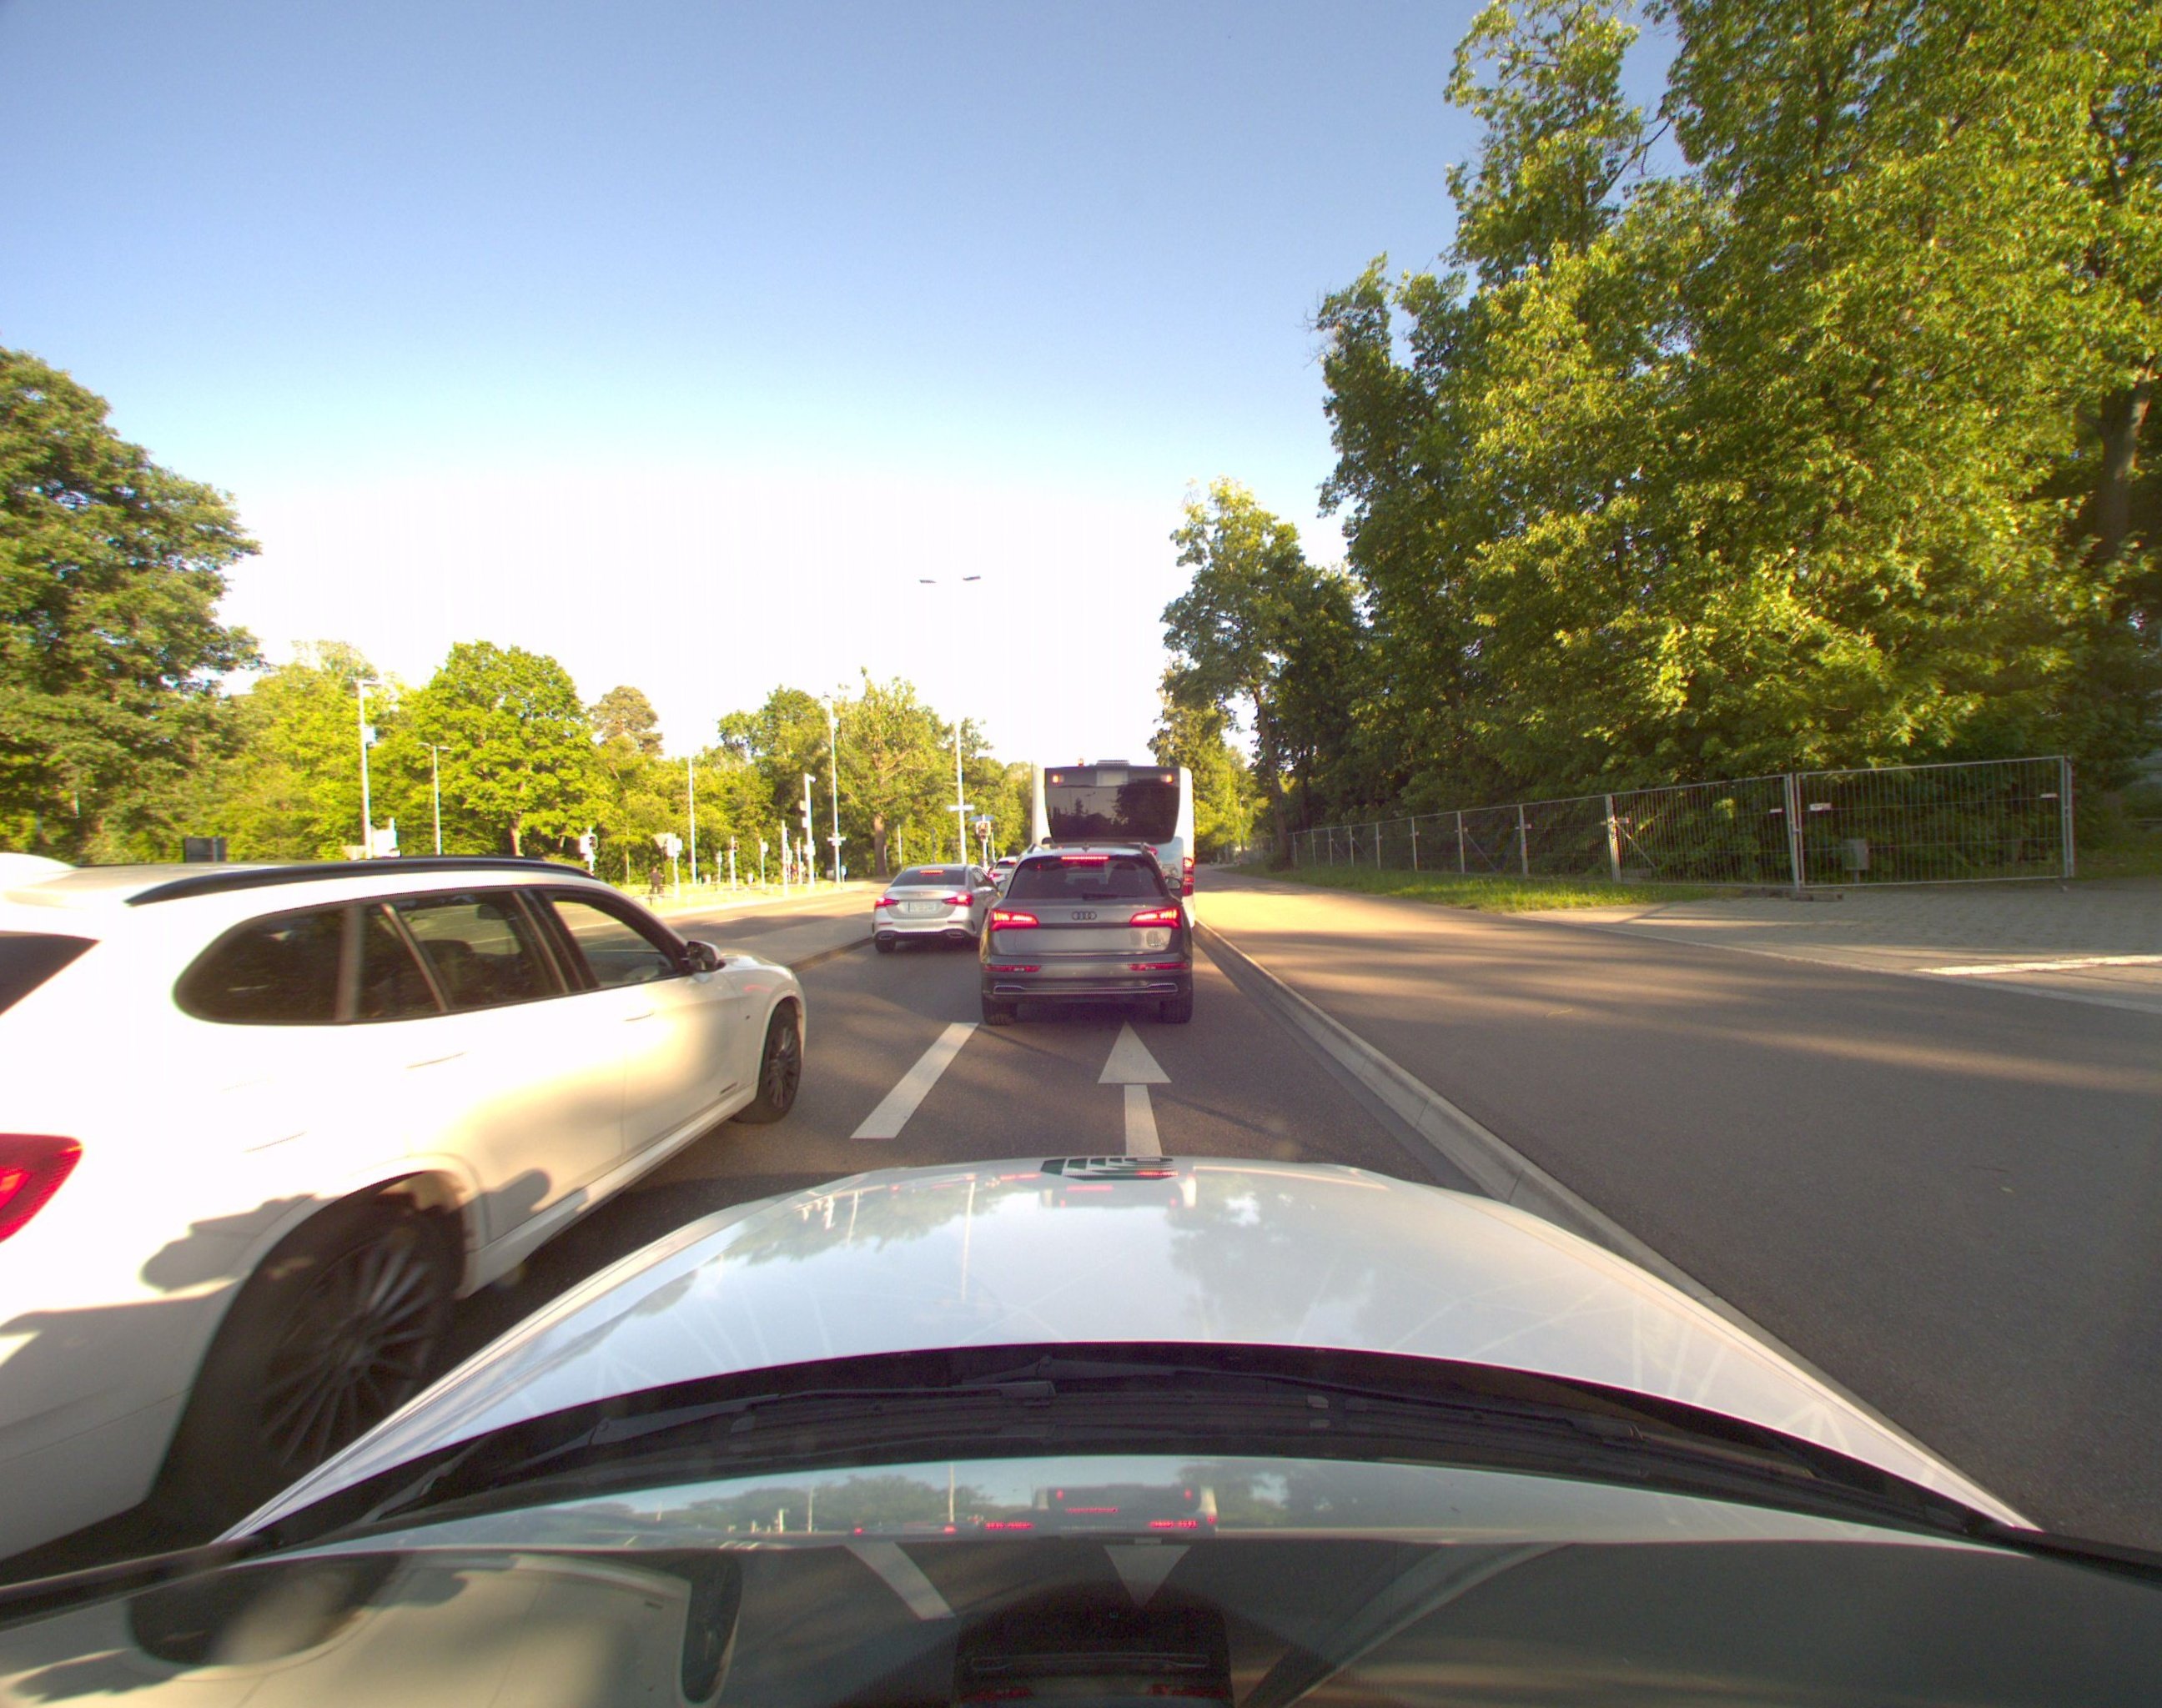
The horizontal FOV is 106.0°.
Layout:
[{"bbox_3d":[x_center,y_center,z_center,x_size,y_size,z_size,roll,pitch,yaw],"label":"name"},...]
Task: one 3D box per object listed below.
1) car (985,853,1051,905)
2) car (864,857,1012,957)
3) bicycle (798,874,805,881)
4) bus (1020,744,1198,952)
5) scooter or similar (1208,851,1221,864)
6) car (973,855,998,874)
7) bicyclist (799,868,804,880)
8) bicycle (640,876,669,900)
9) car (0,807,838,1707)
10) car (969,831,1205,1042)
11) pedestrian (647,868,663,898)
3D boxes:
[{"bbox_3d":[-2.063,0.782,27.634,1.801,1.572,4.002,0,1,2],"label":"car"},{"bbox_3d":[-2.345,0.806,14.476,1.779,1.444,4.279,0,1,1],"label":"car"},{"bbox_3d":[-22.265,1.853,64.887,0.266,0.581,0.838,0,-1,-4],"label":"bicycle"},{"bbox_3d":[0.579,-0.116,15.292,2.667,3.142,5.887,0,0,3],"label":"bus"},{"bbox_3d":[12.759,0.324,77.830,1.175,1.174,0.661,0,0,13],"label":"scooter or similar"},{"bbox_3d":[-8.771,0.947,75.404,1.990,1.662,3.995,-3,0,-4],"label":"car"},{"bbox_3d":[-22.265,1.578,64.862,0.273,0.963,0.240,0,-1,-5],"label":"bicyclist"},{"bbox_3d":[-22.694,1.802,43.377,0.466,1.178,2.005,0,-1,2],"label":"bicycle"},{"bbox_3d":[-2.564,0.724,3.307,1.712,1.581,4.435,0,0,1],"label":"car"},{"bbox_3d":[0.114,0.640,8.476,1.861,1.663,4.002,0,1,2],"label":"car"},{"bbox_3d":[-22.692,1.546,43.412,0.480,1.562,0.649,0,-1,2],"label":"pedestrian"}]
